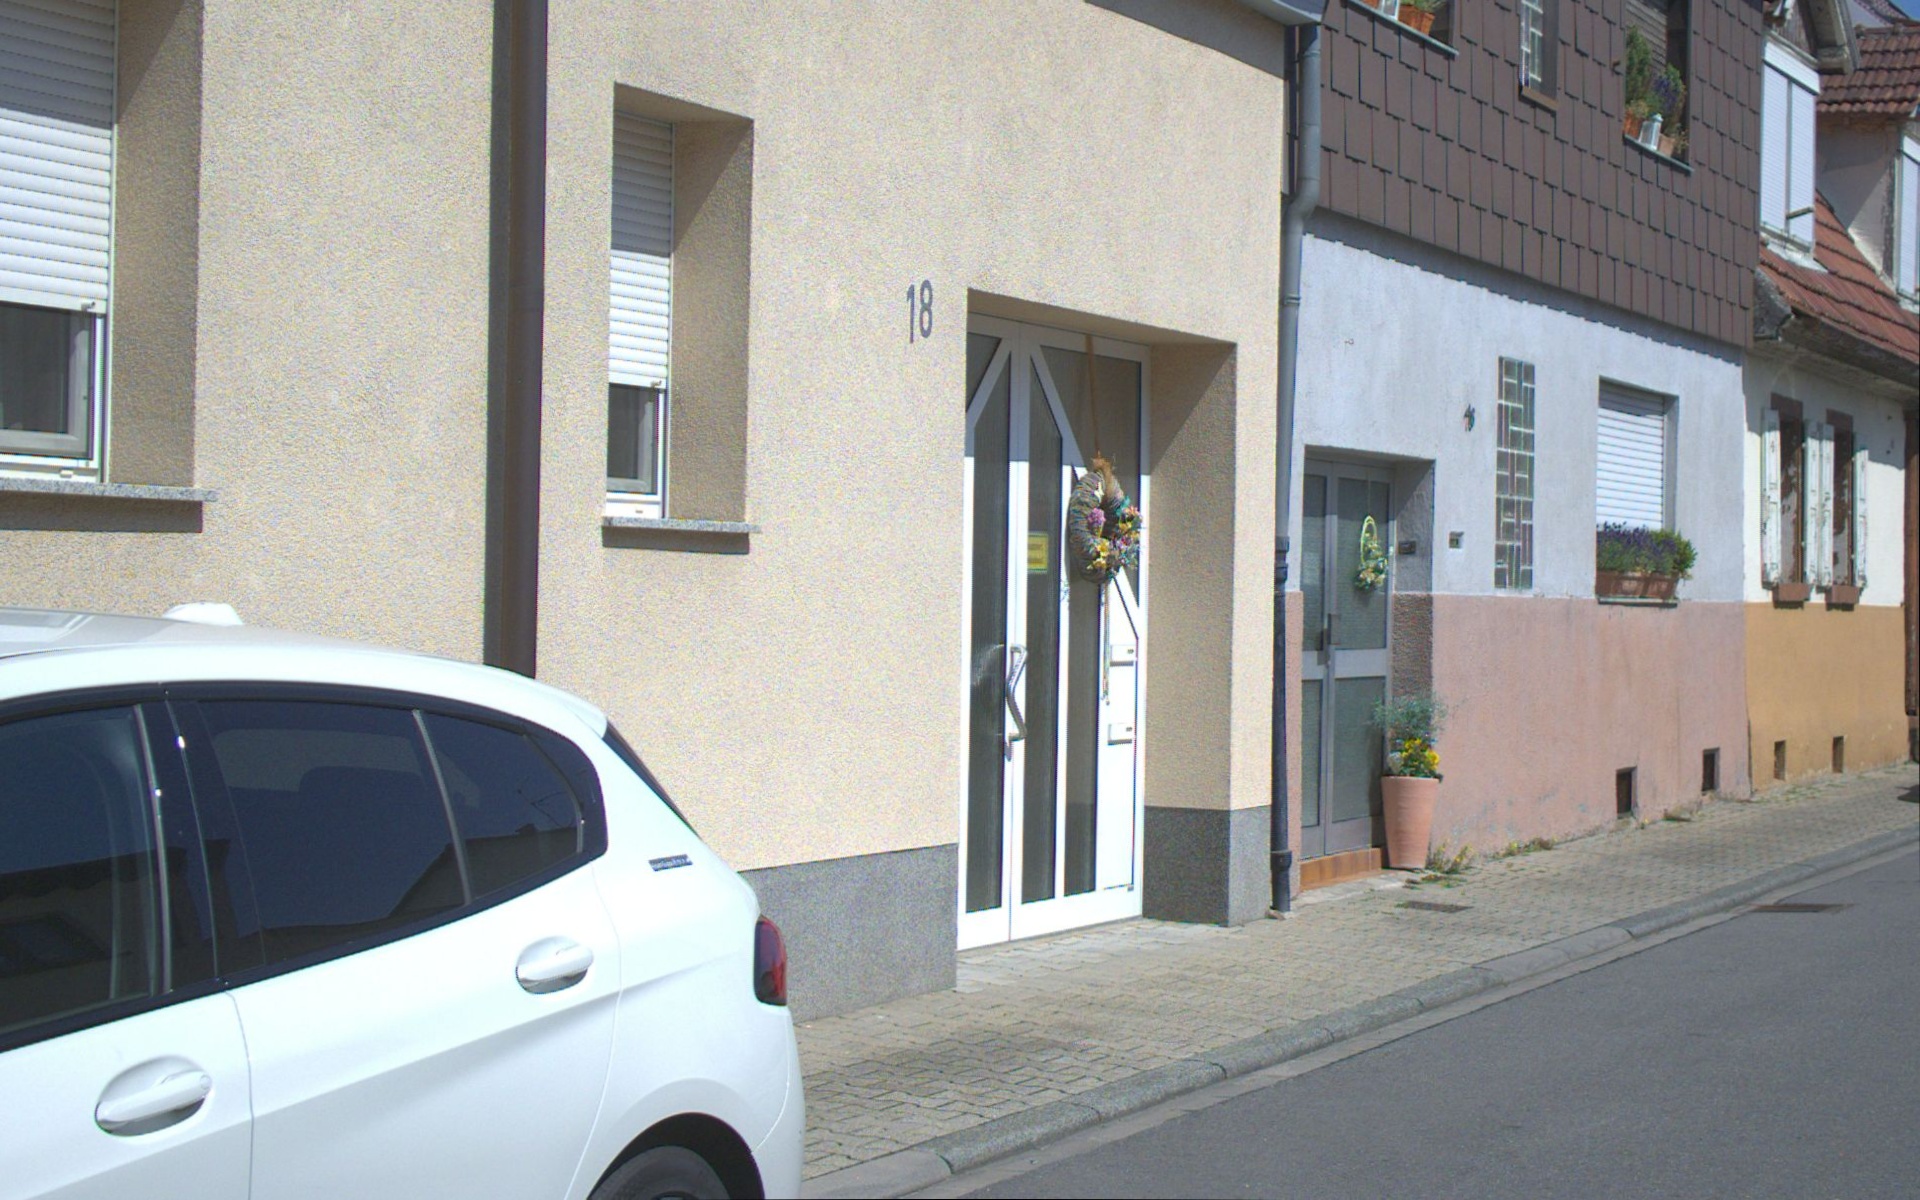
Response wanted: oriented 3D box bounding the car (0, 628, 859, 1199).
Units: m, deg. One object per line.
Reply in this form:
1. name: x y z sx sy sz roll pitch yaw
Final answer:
1. car: -1.896 0.769 4.370 1.785 1.449 4.209 1 0 26
